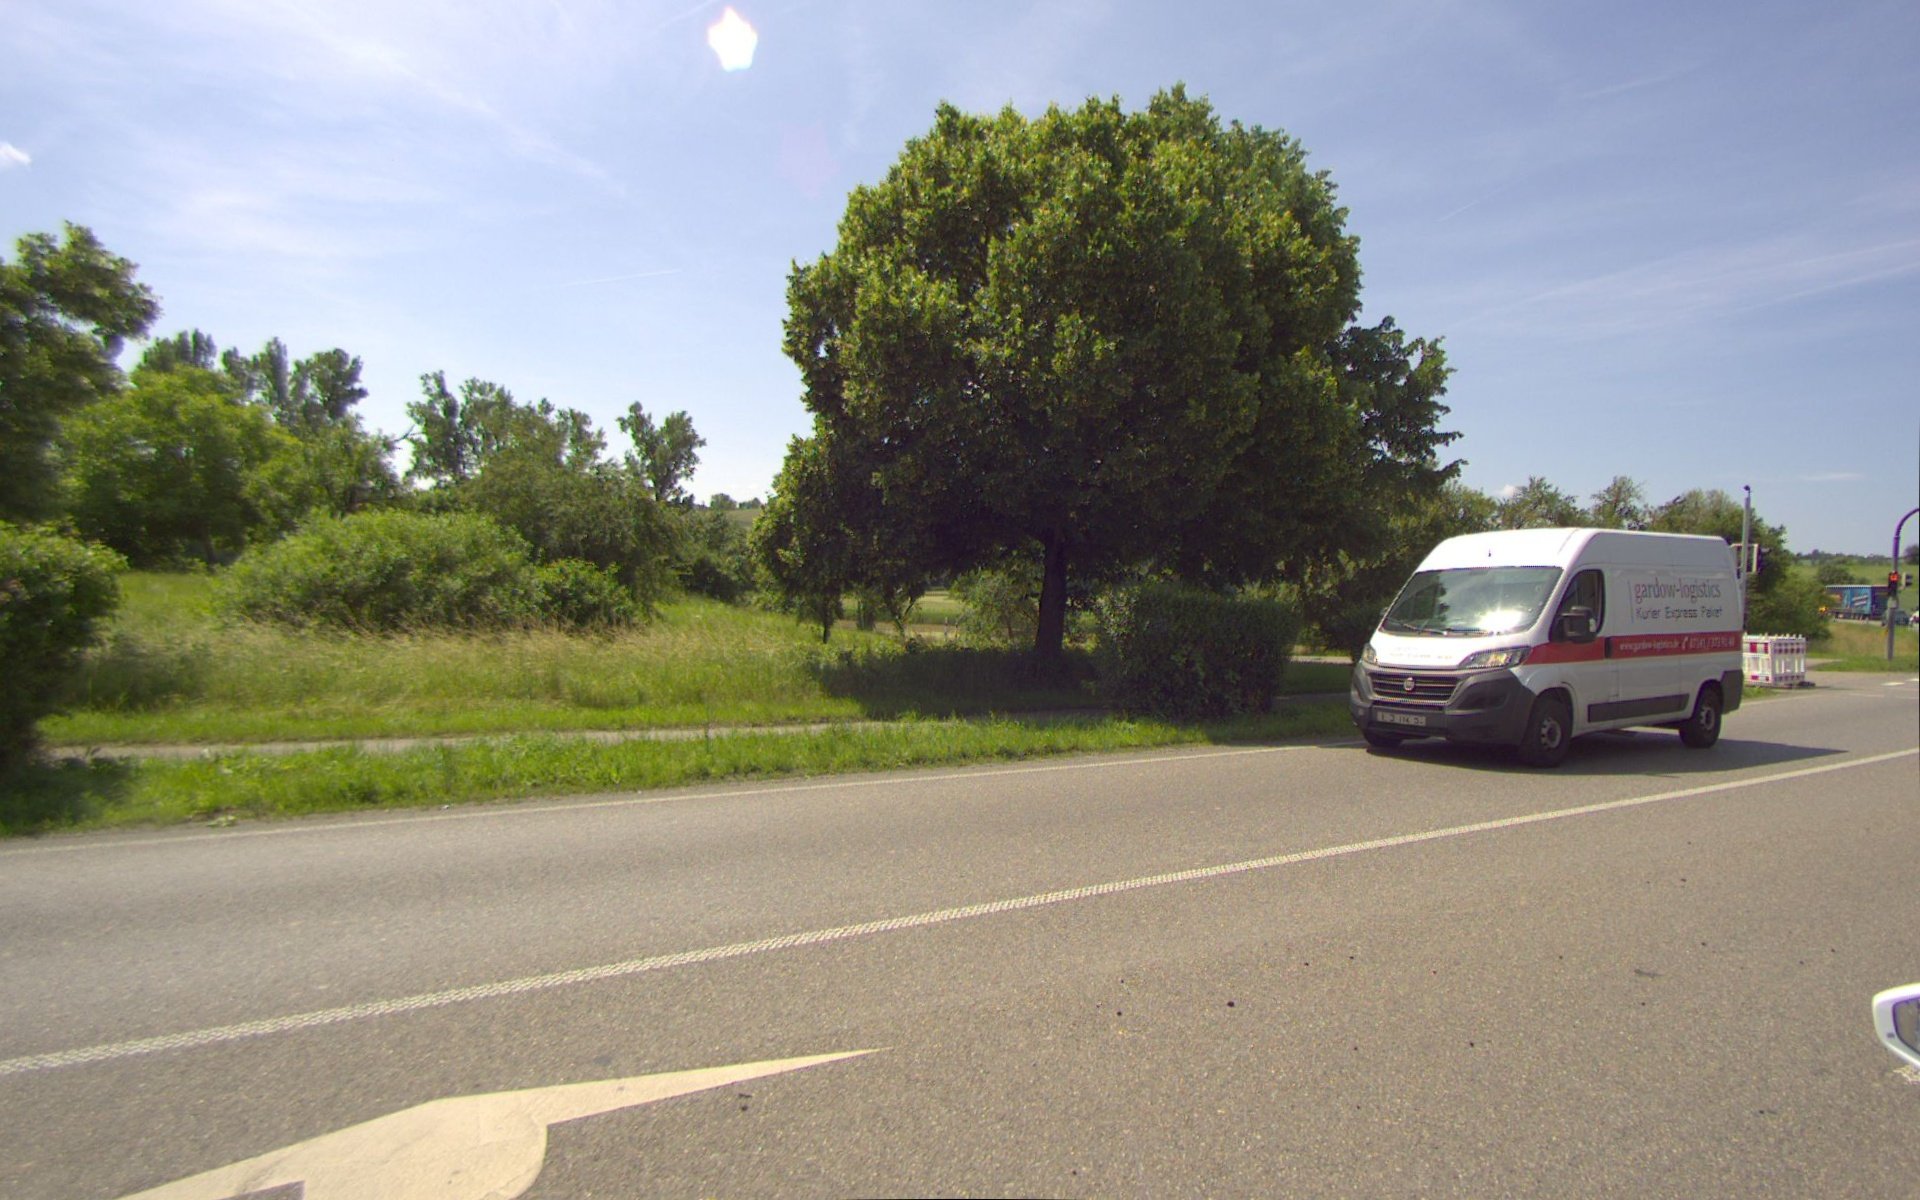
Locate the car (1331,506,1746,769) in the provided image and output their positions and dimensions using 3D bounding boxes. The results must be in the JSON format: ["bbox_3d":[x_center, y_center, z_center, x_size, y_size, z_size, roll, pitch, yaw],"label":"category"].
[{"bbox_3d":[6.868,0.397,11.739,5.210,2.484,2.040,1,-1,-32],"label":"car"}]

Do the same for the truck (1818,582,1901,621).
[{"bbox_3d":[109.585,0.267,122.677,3.473,4.296,13.398,2,-1,24],"label":"truck"}]

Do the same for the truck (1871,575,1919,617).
[{"bbox_3d":[102.690,-0.338,107.434,3.579,4.184,13.092,2,-1,23],"label":"truck"}]
